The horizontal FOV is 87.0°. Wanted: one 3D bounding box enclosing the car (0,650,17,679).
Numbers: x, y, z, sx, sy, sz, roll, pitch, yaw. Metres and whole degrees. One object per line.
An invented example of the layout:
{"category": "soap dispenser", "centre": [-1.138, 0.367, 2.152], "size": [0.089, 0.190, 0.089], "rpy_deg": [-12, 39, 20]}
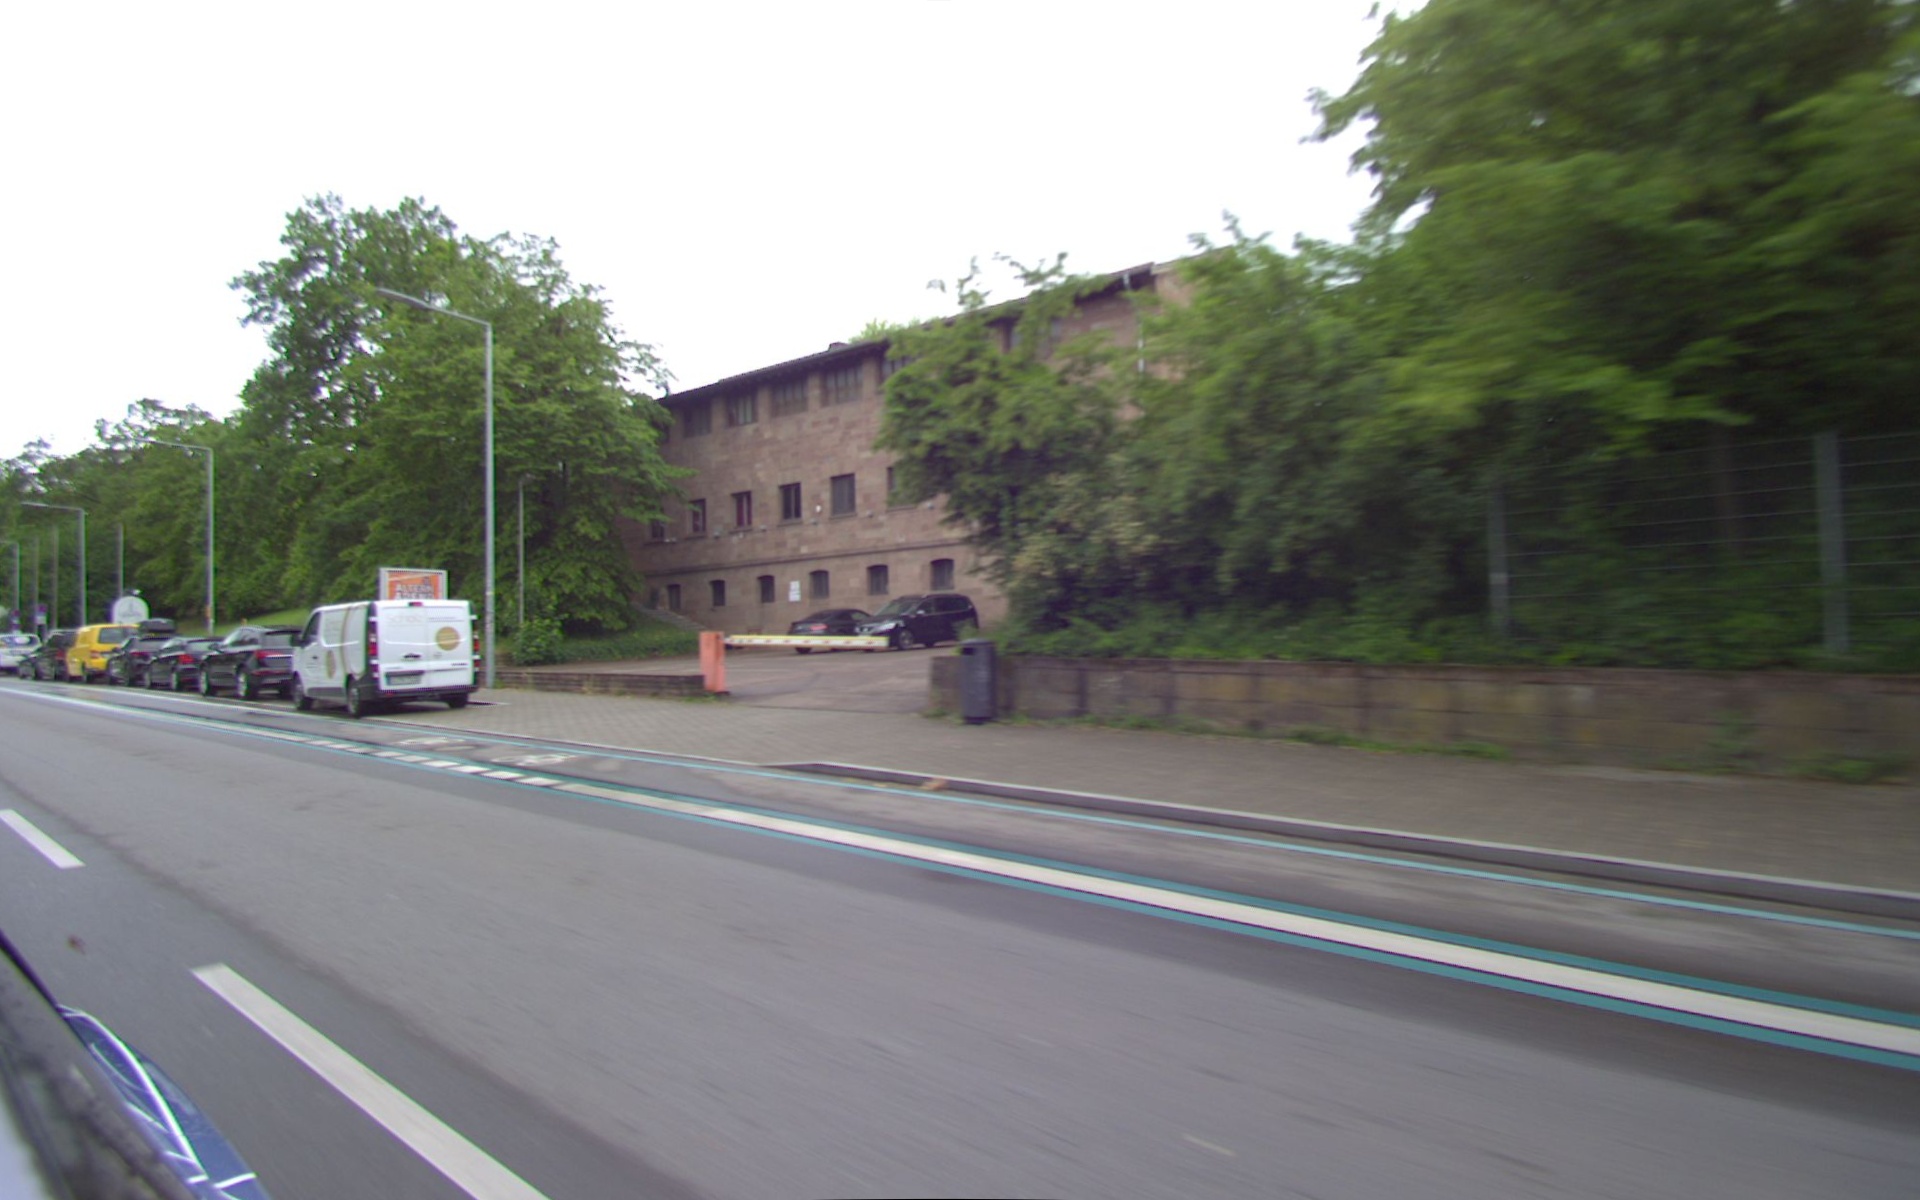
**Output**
{"category": "car", "centre": [-50.686, 3.360, 52.743], "size": [4.591, 1.459, 1.709], "rpy_deg": [-3, -3, 41]}

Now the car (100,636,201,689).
{"category": "car", "centre": [-24.846, 1.910, 31.017], "size": [4.148, 1.516, 1.692], "rpy_deg": [-3, -3, 41]}

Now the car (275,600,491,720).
{"category": "car", "centre": [-10.782, 1.077, 18.710], "size": [5.226, 1.929, 1.957], "rpy_deg": [-3, -3, 42]}

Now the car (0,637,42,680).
{"category": "car", "centre": [-46.096, 2.839, 48.898], "size": [4.729, 1.992, 1.854], "rpy_deg": [-3, -3, 39]}

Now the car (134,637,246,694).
{"category": "car", "centre": [-21.297, 1.781, 27.943], "size": [4.034, 1.457, 1.592], "rpy_deg": [-3, -3, 40]}

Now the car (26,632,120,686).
{"category": "car", "centre": [-33.797, 2.241, 38.499], "size": [5.199, 1.935, 1.858], "rpy_deg": [-3, -4, 40]}

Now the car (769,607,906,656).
{"category": "car", "centre": [-4.055, 1.028, 33.994], "size": [2.259, 1.443, 4.265], "rpy_deg": [-2, 0, 36]}

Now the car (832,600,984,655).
{"category": "car", "centre": [-1.558, 0.845, 32.131], "size": [2.188, 1.490, 4.725], "rpy_deg": [-4, -1, 39]}

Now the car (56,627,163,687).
{"category": "car", "centre": [-29.211, 1.950, 34.724], "size": [4.840, 1.928, 1.973], "rpy_deg": [-3, -3, 40]}

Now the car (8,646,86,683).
{"category": "car", "centre": [-38.153, 2.681, 42.256], "size": [4.605, 1.470, 1.667], "rpy_deg": [-3, -4, 39]}

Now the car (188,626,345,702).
{"category": "car", "centre": [-16.328, 1.477, 23.745], "size": [4.658, 1.628, 1.806], "rpy_deg": [-3, -3, 39]}
